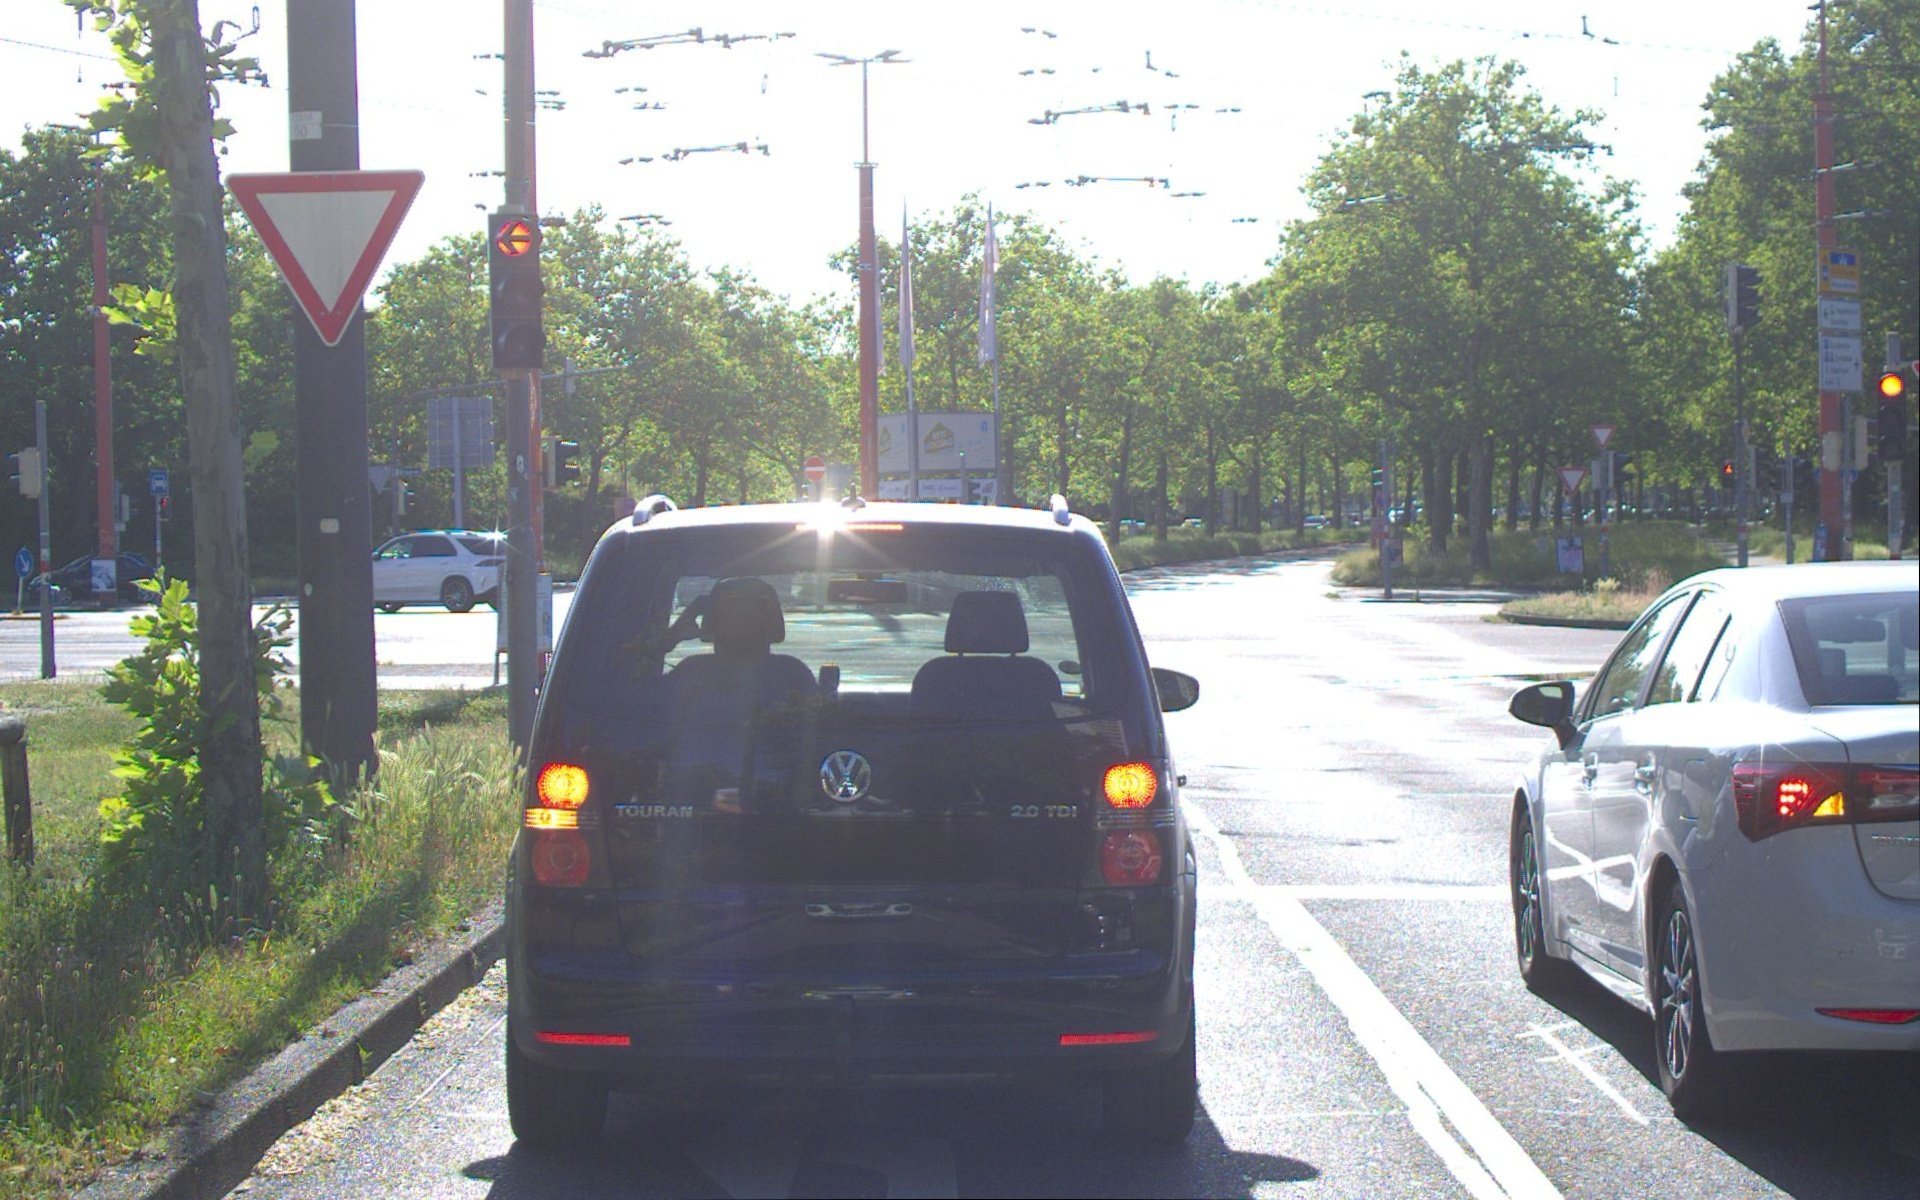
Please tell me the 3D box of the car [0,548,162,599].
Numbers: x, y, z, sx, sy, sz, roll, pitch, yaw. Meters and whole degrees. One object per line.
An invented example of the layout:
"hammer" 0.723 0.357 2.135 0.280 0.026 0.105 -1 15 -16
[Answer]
"car" -24.339 -0.744 95.170 4.118 1.398 1.657 0 1 -28

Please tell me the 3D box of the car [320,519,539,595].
"car" -11.664 -0.960 75.559 4.666 1.620 1.654 1 1 26

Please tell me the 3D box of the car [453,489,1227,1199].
"car" -0.256 0.536 9.978 1.738 1.597 4.326 1 1 1

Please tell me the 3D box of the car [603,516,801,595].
"car" -5.760 -1.007 76.824 4.124 1.744 1.654 1 1 24

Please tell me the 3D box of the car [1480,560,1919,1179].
"car" 2.754 0.617 10.156 1.799 1.435 4.326 1 1 1
